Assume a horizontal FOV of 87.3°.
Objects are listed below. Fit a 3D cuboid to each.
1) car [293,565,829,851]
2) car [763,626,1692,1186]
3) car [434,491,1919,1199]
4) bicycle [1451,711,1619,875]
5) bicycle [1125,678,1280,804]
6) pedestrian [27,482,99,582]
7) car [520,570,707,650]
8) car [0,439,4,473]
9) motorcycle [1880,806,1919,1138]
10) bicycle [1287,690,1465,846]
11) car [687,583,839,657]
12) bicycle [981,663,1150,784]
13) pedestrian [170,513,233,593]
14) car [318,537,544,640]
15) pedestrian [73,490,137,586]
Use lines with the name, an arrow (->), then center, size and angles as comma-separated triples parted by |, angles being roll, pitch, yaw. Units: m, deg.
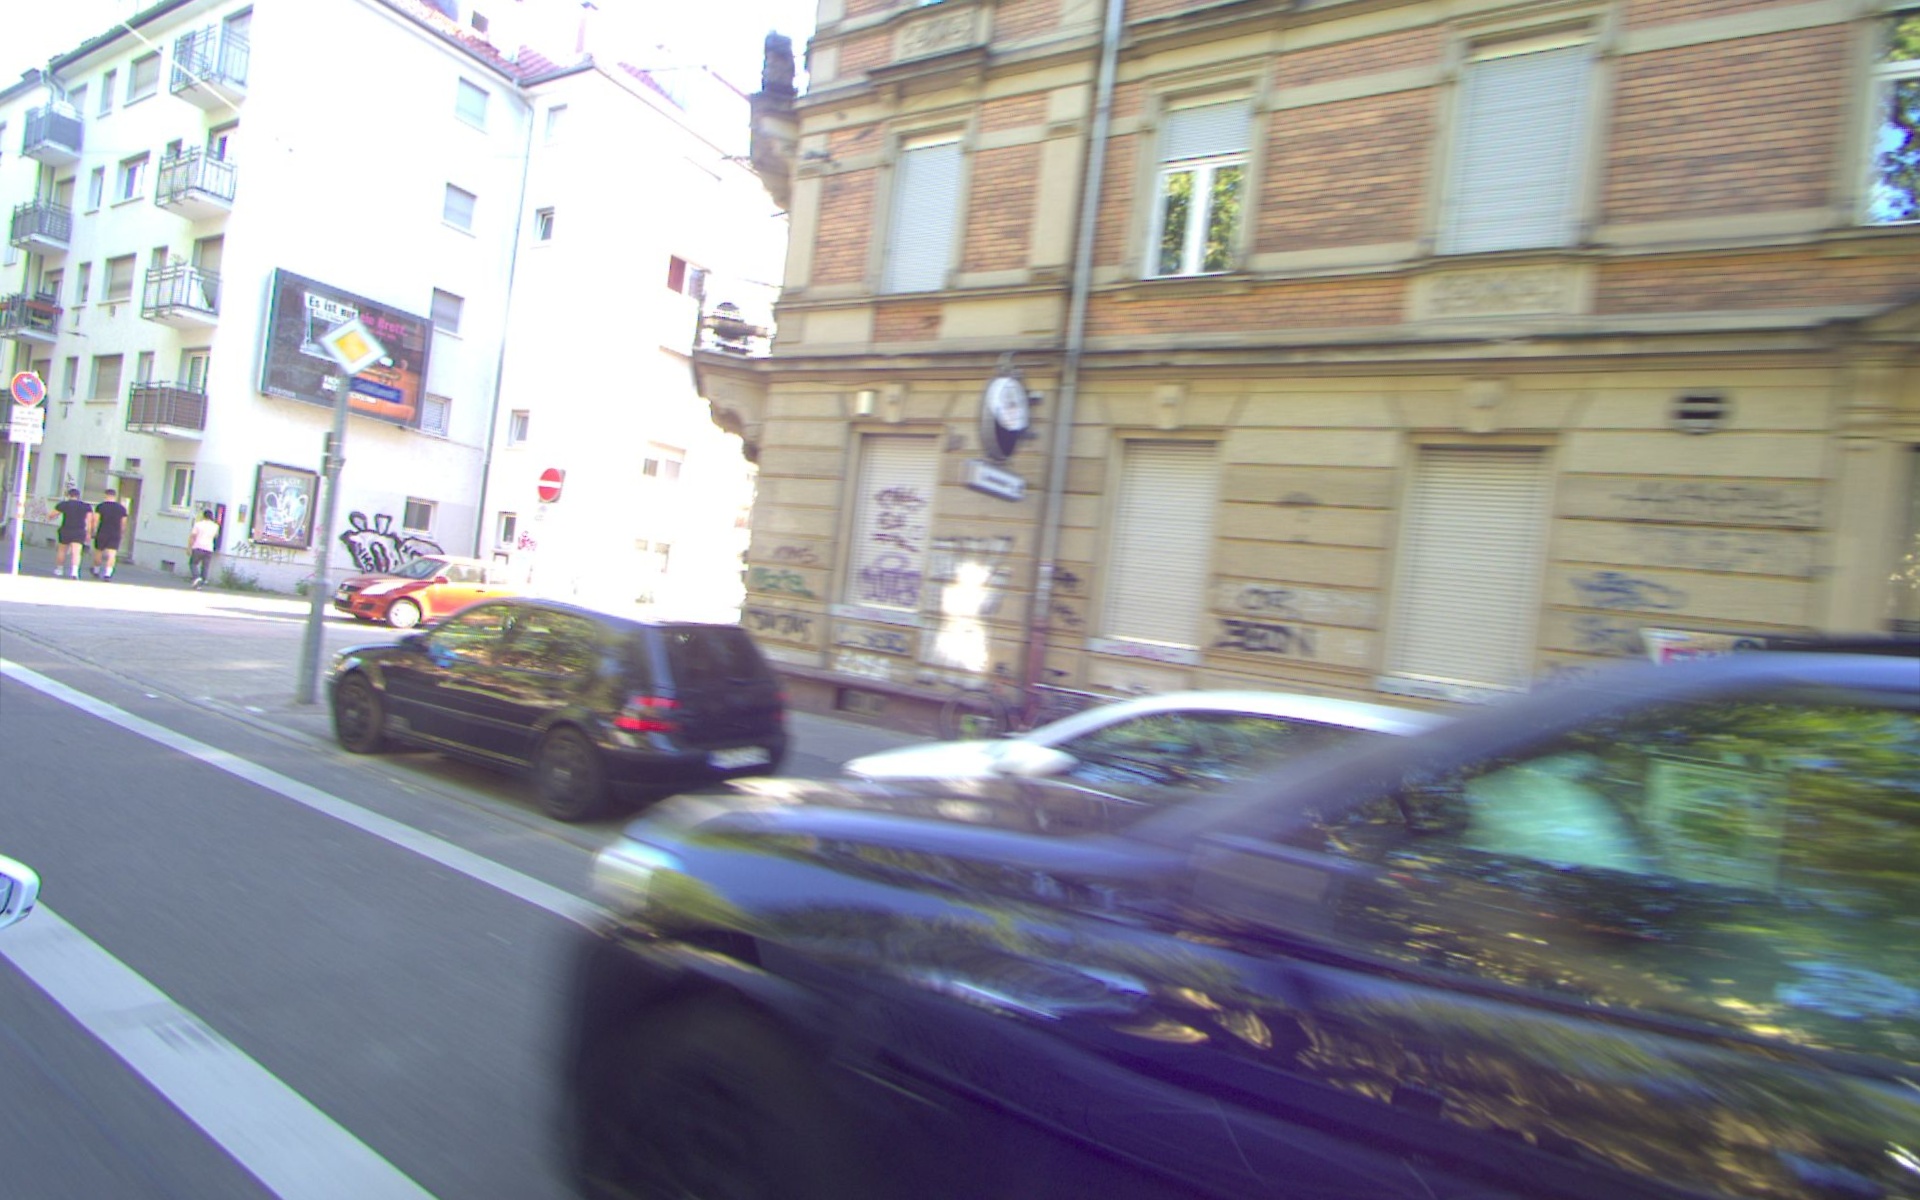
car -> -3.178, 0.666, 7.826 | 3.990, 1.438, 1.651 | 6, 1, 29
car -> 1.081, 1.081, 5.044 | 3.947, 1.438, 1.603 | 6, 1, 32
car -> 1.330, 0.923, 1.794 | 4.555, 1.724, 1.947 | 7, -1, 33
bicycle -> 4.908, 1.618, 8.622 | 1.121, 1.168, 0.273 | 7, 0, 34
bicycle -> 2.413, 1.383, 10.081 | 1.350, 1.013, 0.378 | 7, 0, 34
pedestrian -> -17.858, -1.355, 20.021 | 1.064, 1.845, 0.710 | 6, 1, 34
car -> -8.460, 0.299, 24.884 | 1.761, 1.472, 4.031 | 7, -2, 33
car -> -20.597, -2.045, 18.930 | 5.987, 2.525, 2.153 | 6, -1, 32
motorcycle -> 4.081, 1.501, 3.138 | 0.631, 1.304, 2.143 | 7, -1, 10
bicycle -> 3.814, 1.508, 9.268 | 1.350, 1.168, 0.378 | 7, 0, 34
car -> -5.648, 0.624, 29.366 | 1.761, 1.655, 4.253 | 7, -2, 33
bicycle -> 1.116, 1.310, 10.935 | 1.774, 1.013, 0.378 | 7, 0, 36
pedestrian -> -16.321, -1.013, 21.655 | 0.918, 1.598, 0.633 | 6, -2, 34
car -> -10.912, -0.182, 20.971 | 1.760, 1.592, 3.657 | 8, -1, 31
pedestrian -> -17.500, -1.275, 20.589 | 1.064, 1.845, 0.625 | 6, 1, 34
